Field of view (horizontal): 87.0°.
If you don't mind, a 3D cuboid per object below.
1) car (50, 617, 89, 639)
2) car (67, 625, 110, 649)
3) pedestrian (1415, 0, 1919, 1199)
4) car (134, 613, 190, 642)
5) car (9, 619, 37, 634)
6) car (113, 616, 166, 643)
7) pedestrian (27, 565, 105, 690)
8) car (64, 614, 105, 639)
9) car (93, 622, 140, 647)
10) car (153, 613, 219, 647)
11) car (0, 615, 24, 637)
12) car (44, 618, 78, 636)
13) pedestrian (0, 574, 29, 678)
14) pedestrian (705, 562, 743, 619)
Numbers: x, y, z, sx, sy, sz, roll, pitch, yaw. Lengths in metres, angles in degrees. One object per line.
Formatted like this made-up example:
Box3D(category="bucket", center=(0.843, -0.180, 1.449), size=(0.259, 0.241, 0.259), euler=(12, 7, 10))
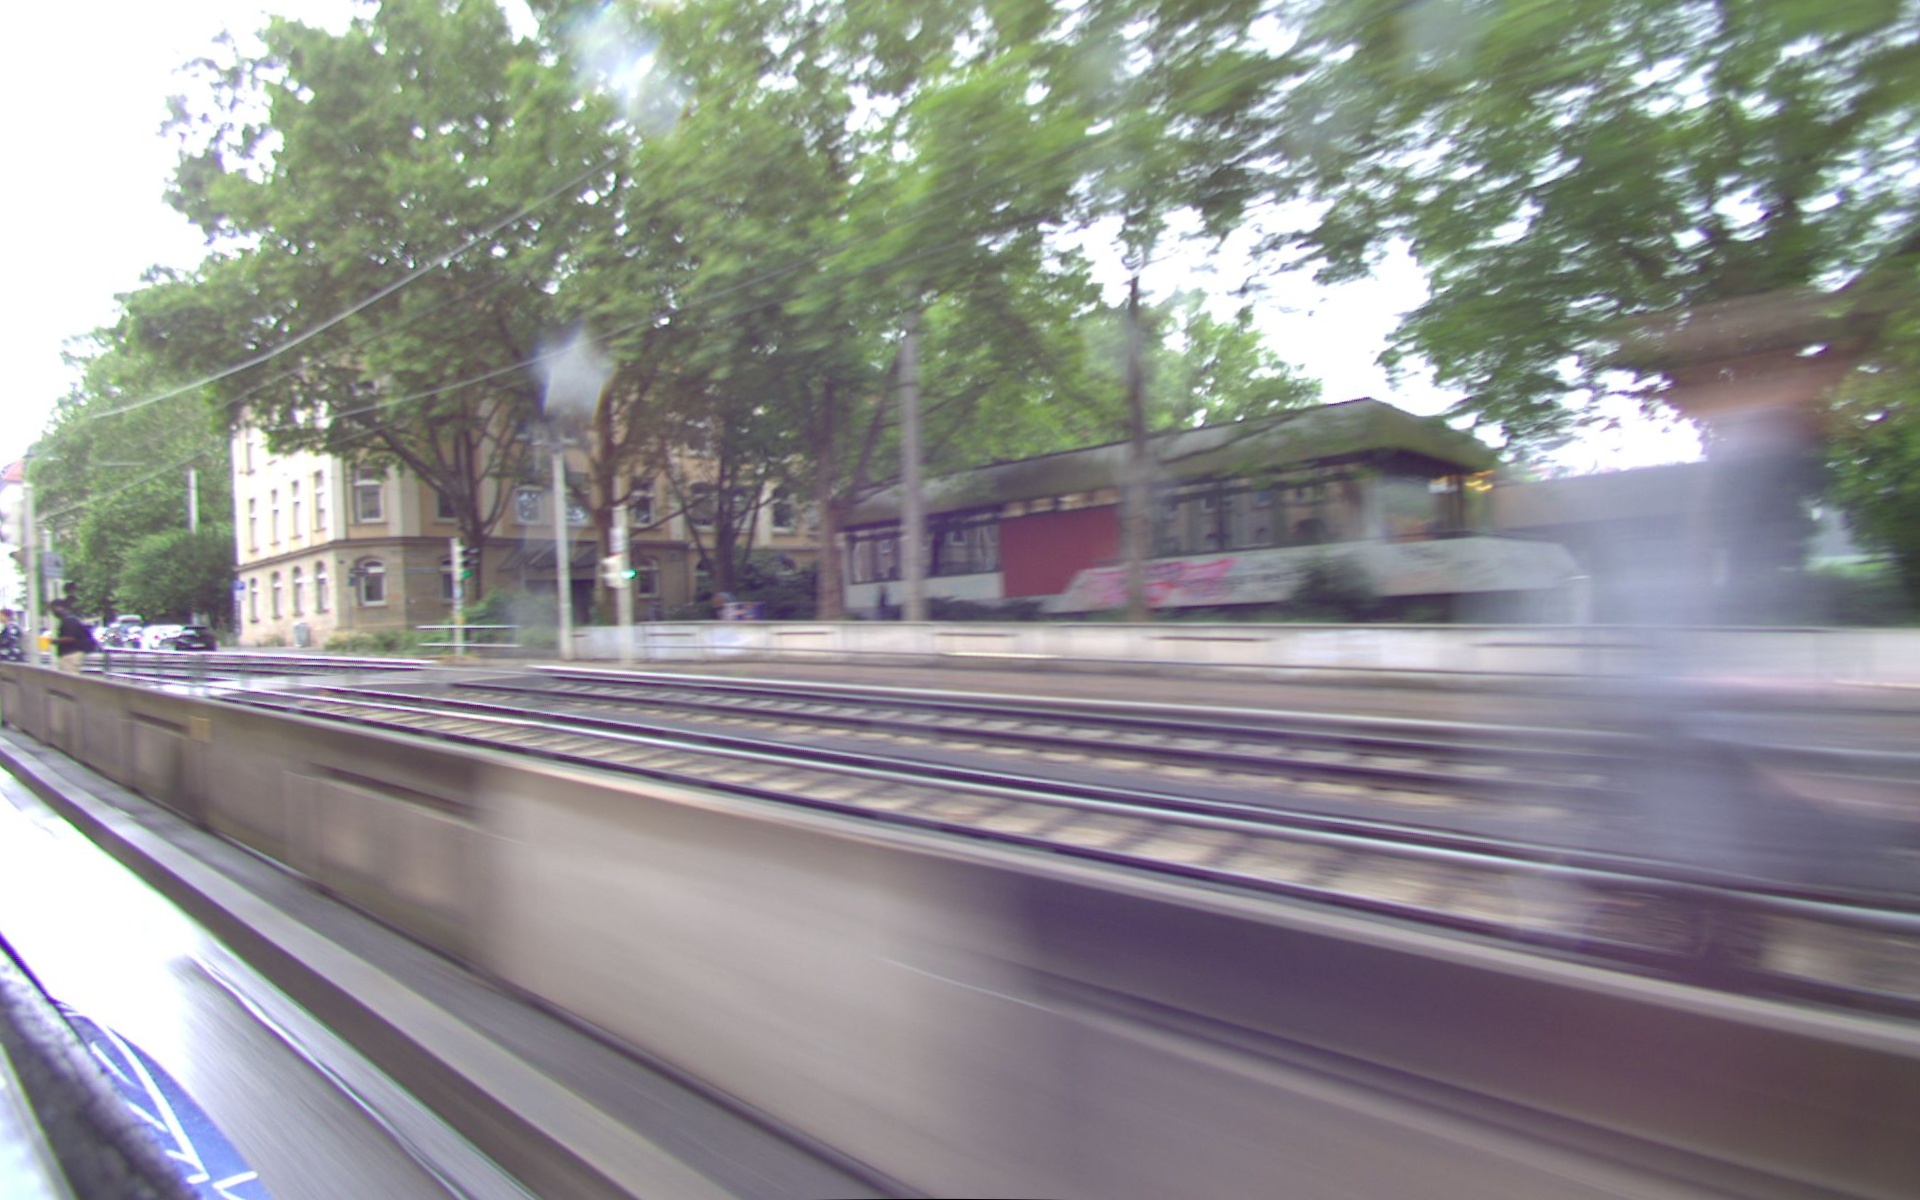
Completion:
Box3D(category="car", center=(-59.613, 1.897, 67.732), size=(3.310, 1.389, 1.385), euler=(-2, -1, 39))
Box3D(category="car", center=(-54.810, 2.310, 63.623), size=(3.496, 1.460, 1.465), euler=(-2, -1, 39))
Box3D(category="pedestrian", center=(1.279, 0.043, 1.598), size=(0.787, 1.813, 0.850), euler=(-1, 0, 41))
Box3D(category="car", center=(-41.448, 1.437, 52.560), size=(3.513, 1.411, 1.625), euler=(-2, -1, 40))
Box3D(category="car", center=(-76.795, 2.187, 82.899), size=(2.907, 1.175, 1.310), euler=(-2, -1, 39))
Box3D(category="car", center=(-44.980, 1.637, 55.439), size=(3.513, 1.411, 1.625), euler=(-2, -1, 40))
Box3D(category="pedestrian", center=(-12.634, 0.376, 14.319), size=(0.642, 1.717, 0.663), euler=(-1, 0, -26))
Box3D(category="car", center=(-56.170, 1.688, 64.924), size=(3.310, 1.520, 1.385), euler=(-2, -1, 39))
Box3D(category="car", center=(-49.074, 2.004, 58.861), size=(3.279, 1.411, 1.465), euler=(-2, -1, 39))
Box3D(category="car", center=(-37.871, 1.442, 49.512), size=(3.806, 1.488, 1.867), euler=(-1, 1, 42))
Box3D(category="car", center=(-67.985, 1.844, 71.876), size=(3.306, 1.488, 1.667), euler=(-1, 1, 37))
Box3D(category="car", center=(-63.242, 1.916, 71.164), size=(2.906, 1.175, 1.310), euler=(-2, -1, 39))
Box3D(category="pedestrian", center=(-15.534, 0.421, 16.389), size=(0.428, 1.651, 0.481), euler=(-2, 0, 4))
Box3D(category="pedestrian", center=(-7.651, -0.306, 32.818), size=(0.862, 1.813, 0.859), euler=(-1, 0, 44))
